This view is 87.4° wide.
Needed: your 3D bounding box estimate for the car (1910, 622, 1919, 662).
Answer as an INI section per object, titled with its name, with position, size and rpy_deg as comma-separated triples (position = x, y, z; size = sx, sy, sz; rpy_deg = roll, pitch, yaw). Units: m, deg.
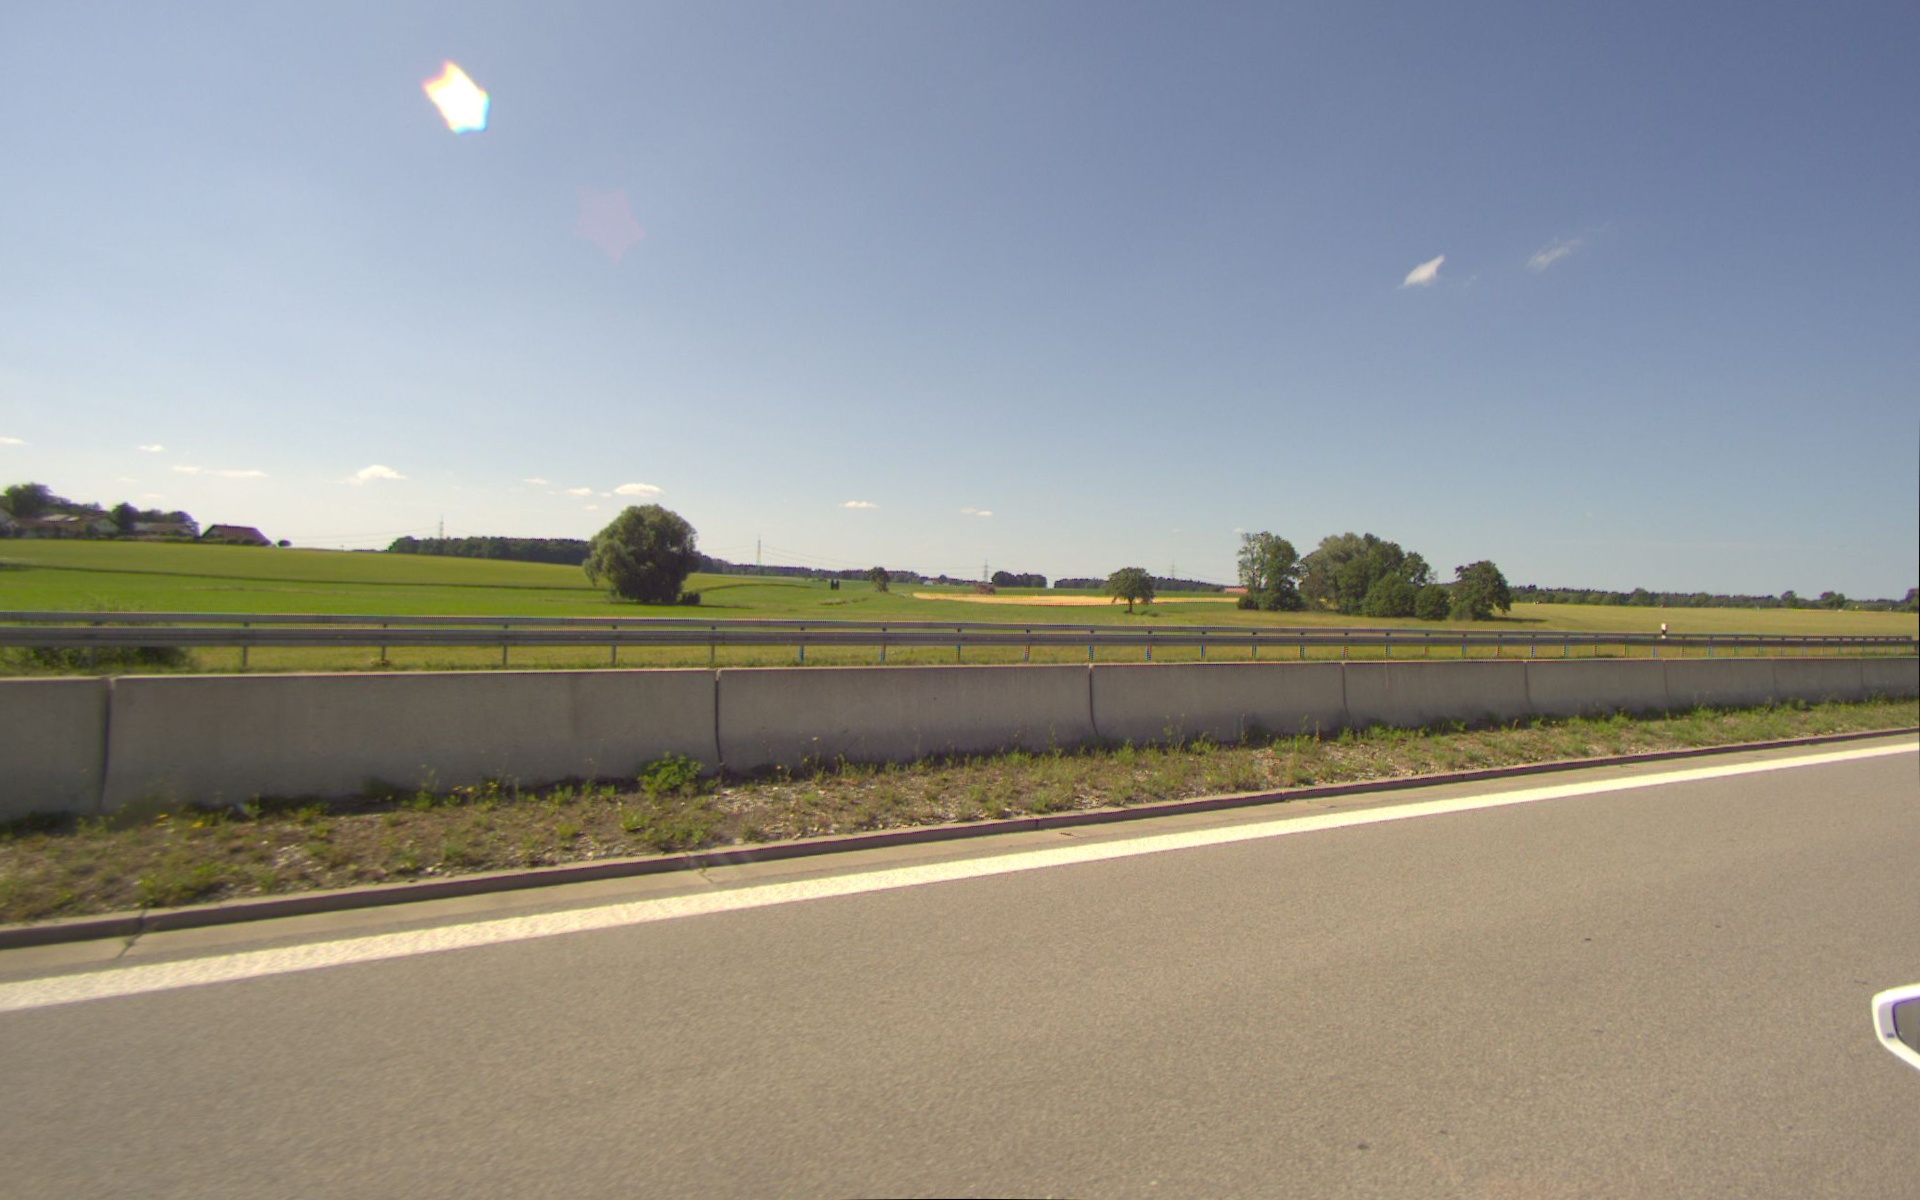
[car]
position = 39.067, 1.658, 39.043
size = 4.750, 1.543, 1.889
rpy_deg = 2, -2, -30
